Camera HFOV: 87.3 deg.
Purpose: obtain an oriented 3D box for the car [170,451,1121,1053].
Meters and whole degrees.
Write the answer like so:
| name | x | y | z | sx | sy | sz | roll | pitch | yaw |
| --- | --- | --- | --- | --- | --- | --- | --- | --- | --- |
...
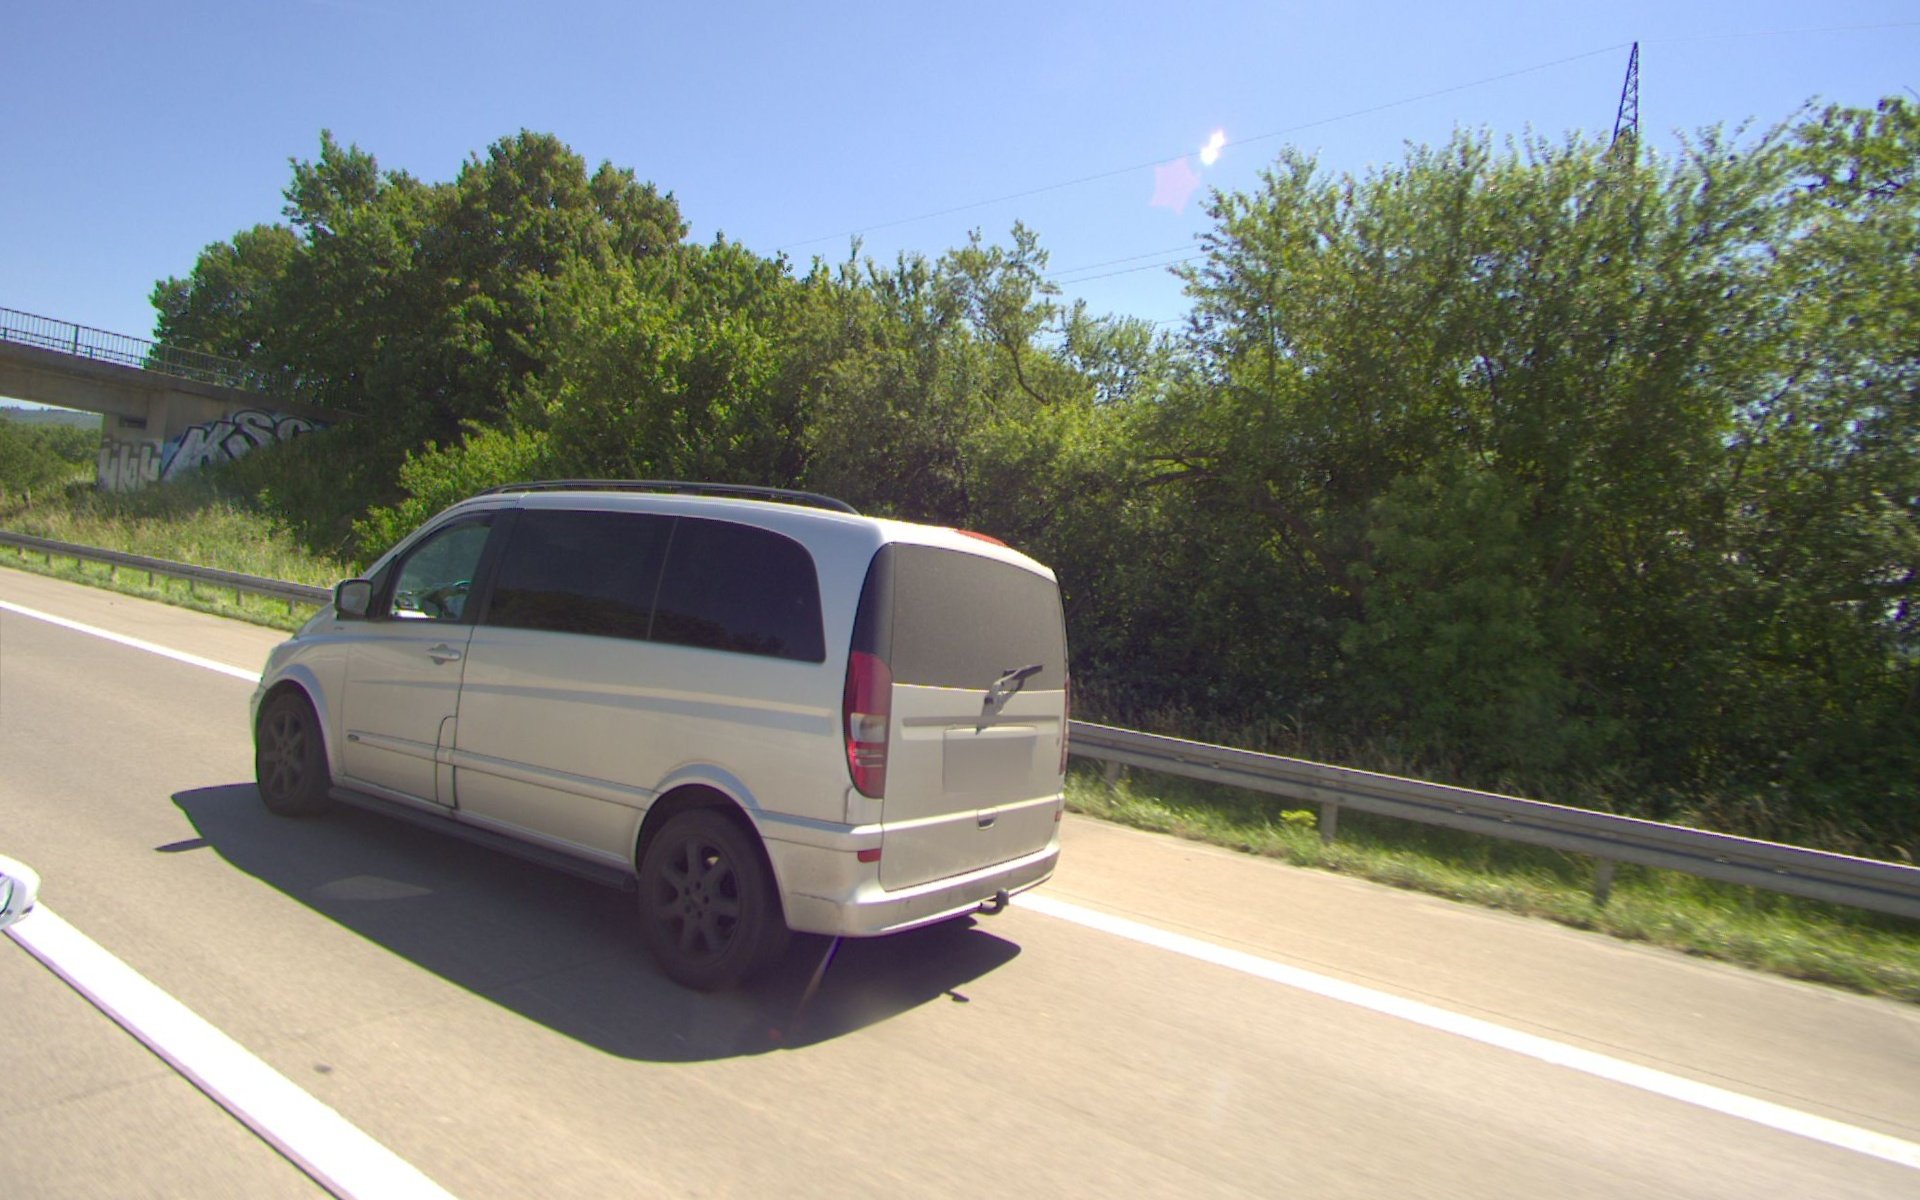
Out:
| name | x | y | z | sx | sy | sz | roll | pitch | yaw |
| --- | --- | --- | --- | --- | --- | --- | --- | --- | --- |
| car | -1.993 | 0.383 | 5.512 | 5.192 | 1.911 | 1.882 | 7 | -1 | 32 |
